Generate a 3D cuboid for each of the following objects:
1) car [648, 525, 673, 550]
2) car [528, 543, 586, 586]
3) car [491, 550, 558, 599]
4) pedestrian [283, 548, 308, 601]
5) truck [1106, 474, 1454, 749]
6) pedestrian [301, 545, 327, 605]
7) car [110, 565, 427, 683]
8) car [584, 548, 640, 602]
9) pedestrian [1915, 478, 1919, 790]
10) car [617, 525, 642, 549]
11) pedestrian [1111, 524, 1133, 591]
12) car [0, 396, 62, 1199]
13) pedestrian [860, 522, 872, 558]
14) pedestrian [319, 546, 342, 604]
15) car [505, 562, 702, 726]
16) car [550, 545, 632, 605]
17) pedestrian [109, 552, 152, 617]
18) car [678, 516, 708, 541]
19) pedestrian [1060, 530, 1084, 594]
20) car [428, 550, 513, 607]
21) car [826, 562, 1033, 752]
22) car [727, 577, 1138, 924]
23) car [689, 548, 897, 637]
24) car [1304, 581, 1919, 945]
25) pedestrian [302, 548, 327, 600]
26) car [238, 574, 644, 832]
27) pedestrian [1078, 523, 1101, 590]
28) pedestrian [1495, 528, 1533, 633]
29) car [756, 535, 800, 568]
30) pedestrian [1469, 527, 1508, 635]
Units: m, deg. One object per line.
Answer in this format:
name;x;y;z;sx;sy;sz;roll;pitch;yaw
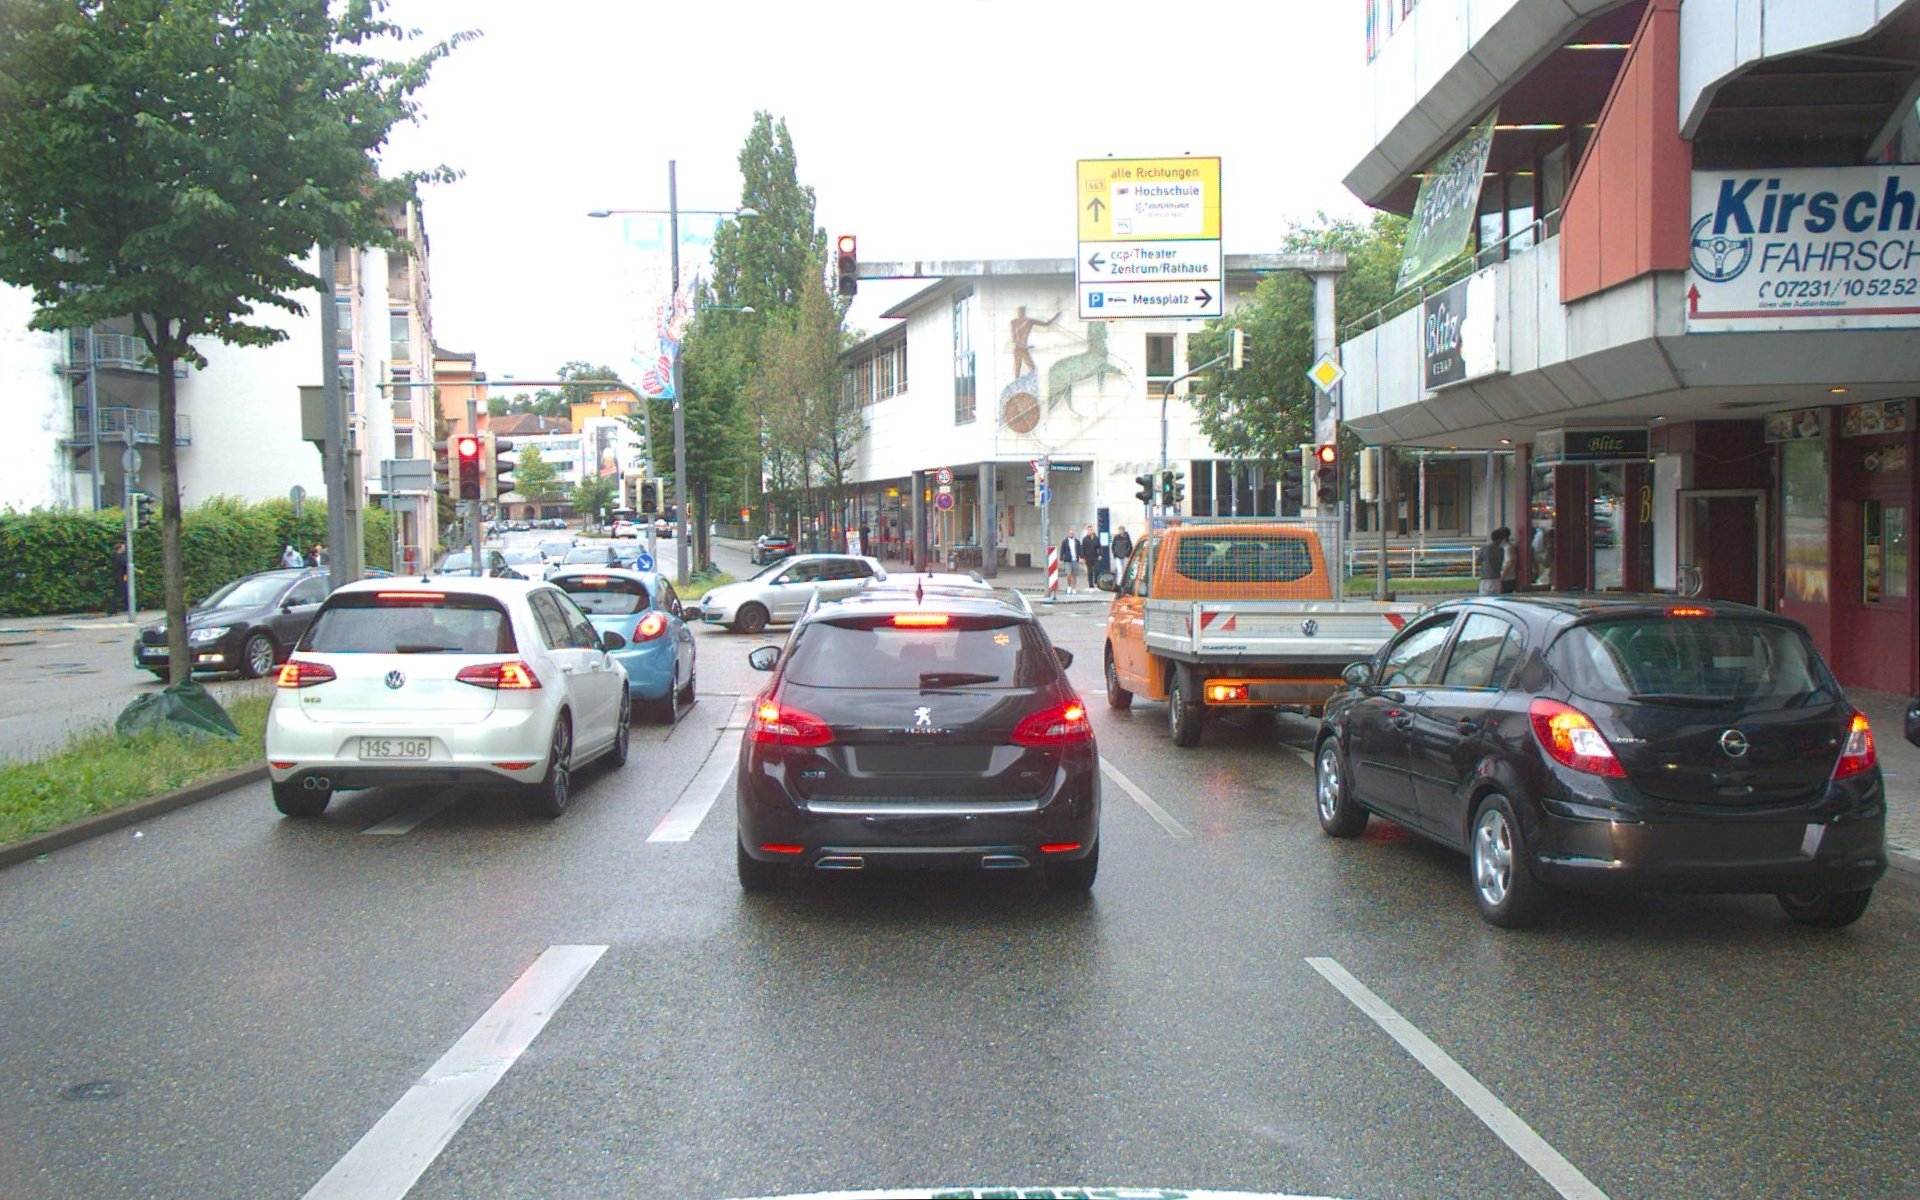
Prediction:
car;-26.632;-5.522;146.838;1.679;1.970;3.980;1;-1;-18
car;-14.807;-1.332;60.912;1.602;1.512;3.605;1;2;-7
car;-14.133;-0.854;53.859;1.602;1.512;3.605;1;2;-7
pedestrian;-20.540;-0.792;51.145;0.569;1.627;0.526;1;-1;-7
truck;2.824;0.028;15.934;2.133;2.210;5.018;1;2;-3
pedestrian;-19.378;-0.731;49.635;0.529;1.778;0.746;1;-1;-9
car;-9.891;0.264;24.114;1.598;1.512;4.741;1;2;17
car;-11.554;-0.790;55.097;1.713;1.669;3.989;1;-1;-11
pedestrian;6.417;0.213;10.175;0.721;1.968;0.640;1;-1;-1
car;-29.131;-5.540;145.675;1.679;1.915;3.980;1;-1;-18
pedestrian;4.688;-1.225;47.861;0.623;1.930;0.734;1;-1;6
car;-3.043;0.448;1.420;1.873;1.903;5.071;1;-1;-2
pedestrian;-4.770;-3.051;84.142;0.461;1.778;0.537;1;-1;-21
pedestrian;-19.503;-0.760;51.247;0.528;1.778;0.564;1;-1;-6
car;-3.639;0.381;17.389;1.601;1.512;3.606;1;2;-6
car;-10.596;-0.684;47.750;1.710;1.607;3.996;1;-1;-4
pedestrian;-21.541;-0.393;42.967;0.623;1.671;0.734;0;-1;17
car;-19.628;-5.253;121.438;1.696;1.516;4.714;1;-1;-15
pedestrian;3.167;-1.071;46.664;0.623;1.788;0.734;1;-1;6
car;-13.772;-0.629;46.719;1.543;1.512;3.607;1;2;-4
car;-0.276;0.421;15.294;1.662;1.512;3.793;1;2;-1
car;-0.193;0.621;8.985;1.742;1.454;3.840;1;1;-3
car;-3.261;-0.147;32.213;3.689;1.494;1.627;-3;-1;-22
car;3.110;0.648;8.691;1.584;1.454;3.839;1;1;-4
pedestrian;-20.397;-0.805;52.277;0.569;1.627;0.526;1;-1;-7
car;-3.333;0.563;11.389;1.742;1.454;3.840;1;1;-3
pedestrian;3.794;-1.270;48.355;0.623;1.930;0.734;1;-1;6
pedestrian;8.948;-0.314;26.735;0.388;1.668;0.504;-1;-1;0
car;-9.064;-2.430;82.226;1.755;1.479;4.495;-3;3;-11
pedestrian;8.444;-0.298;26.438;0.417;1.712;0.450;-1;-1;-2
